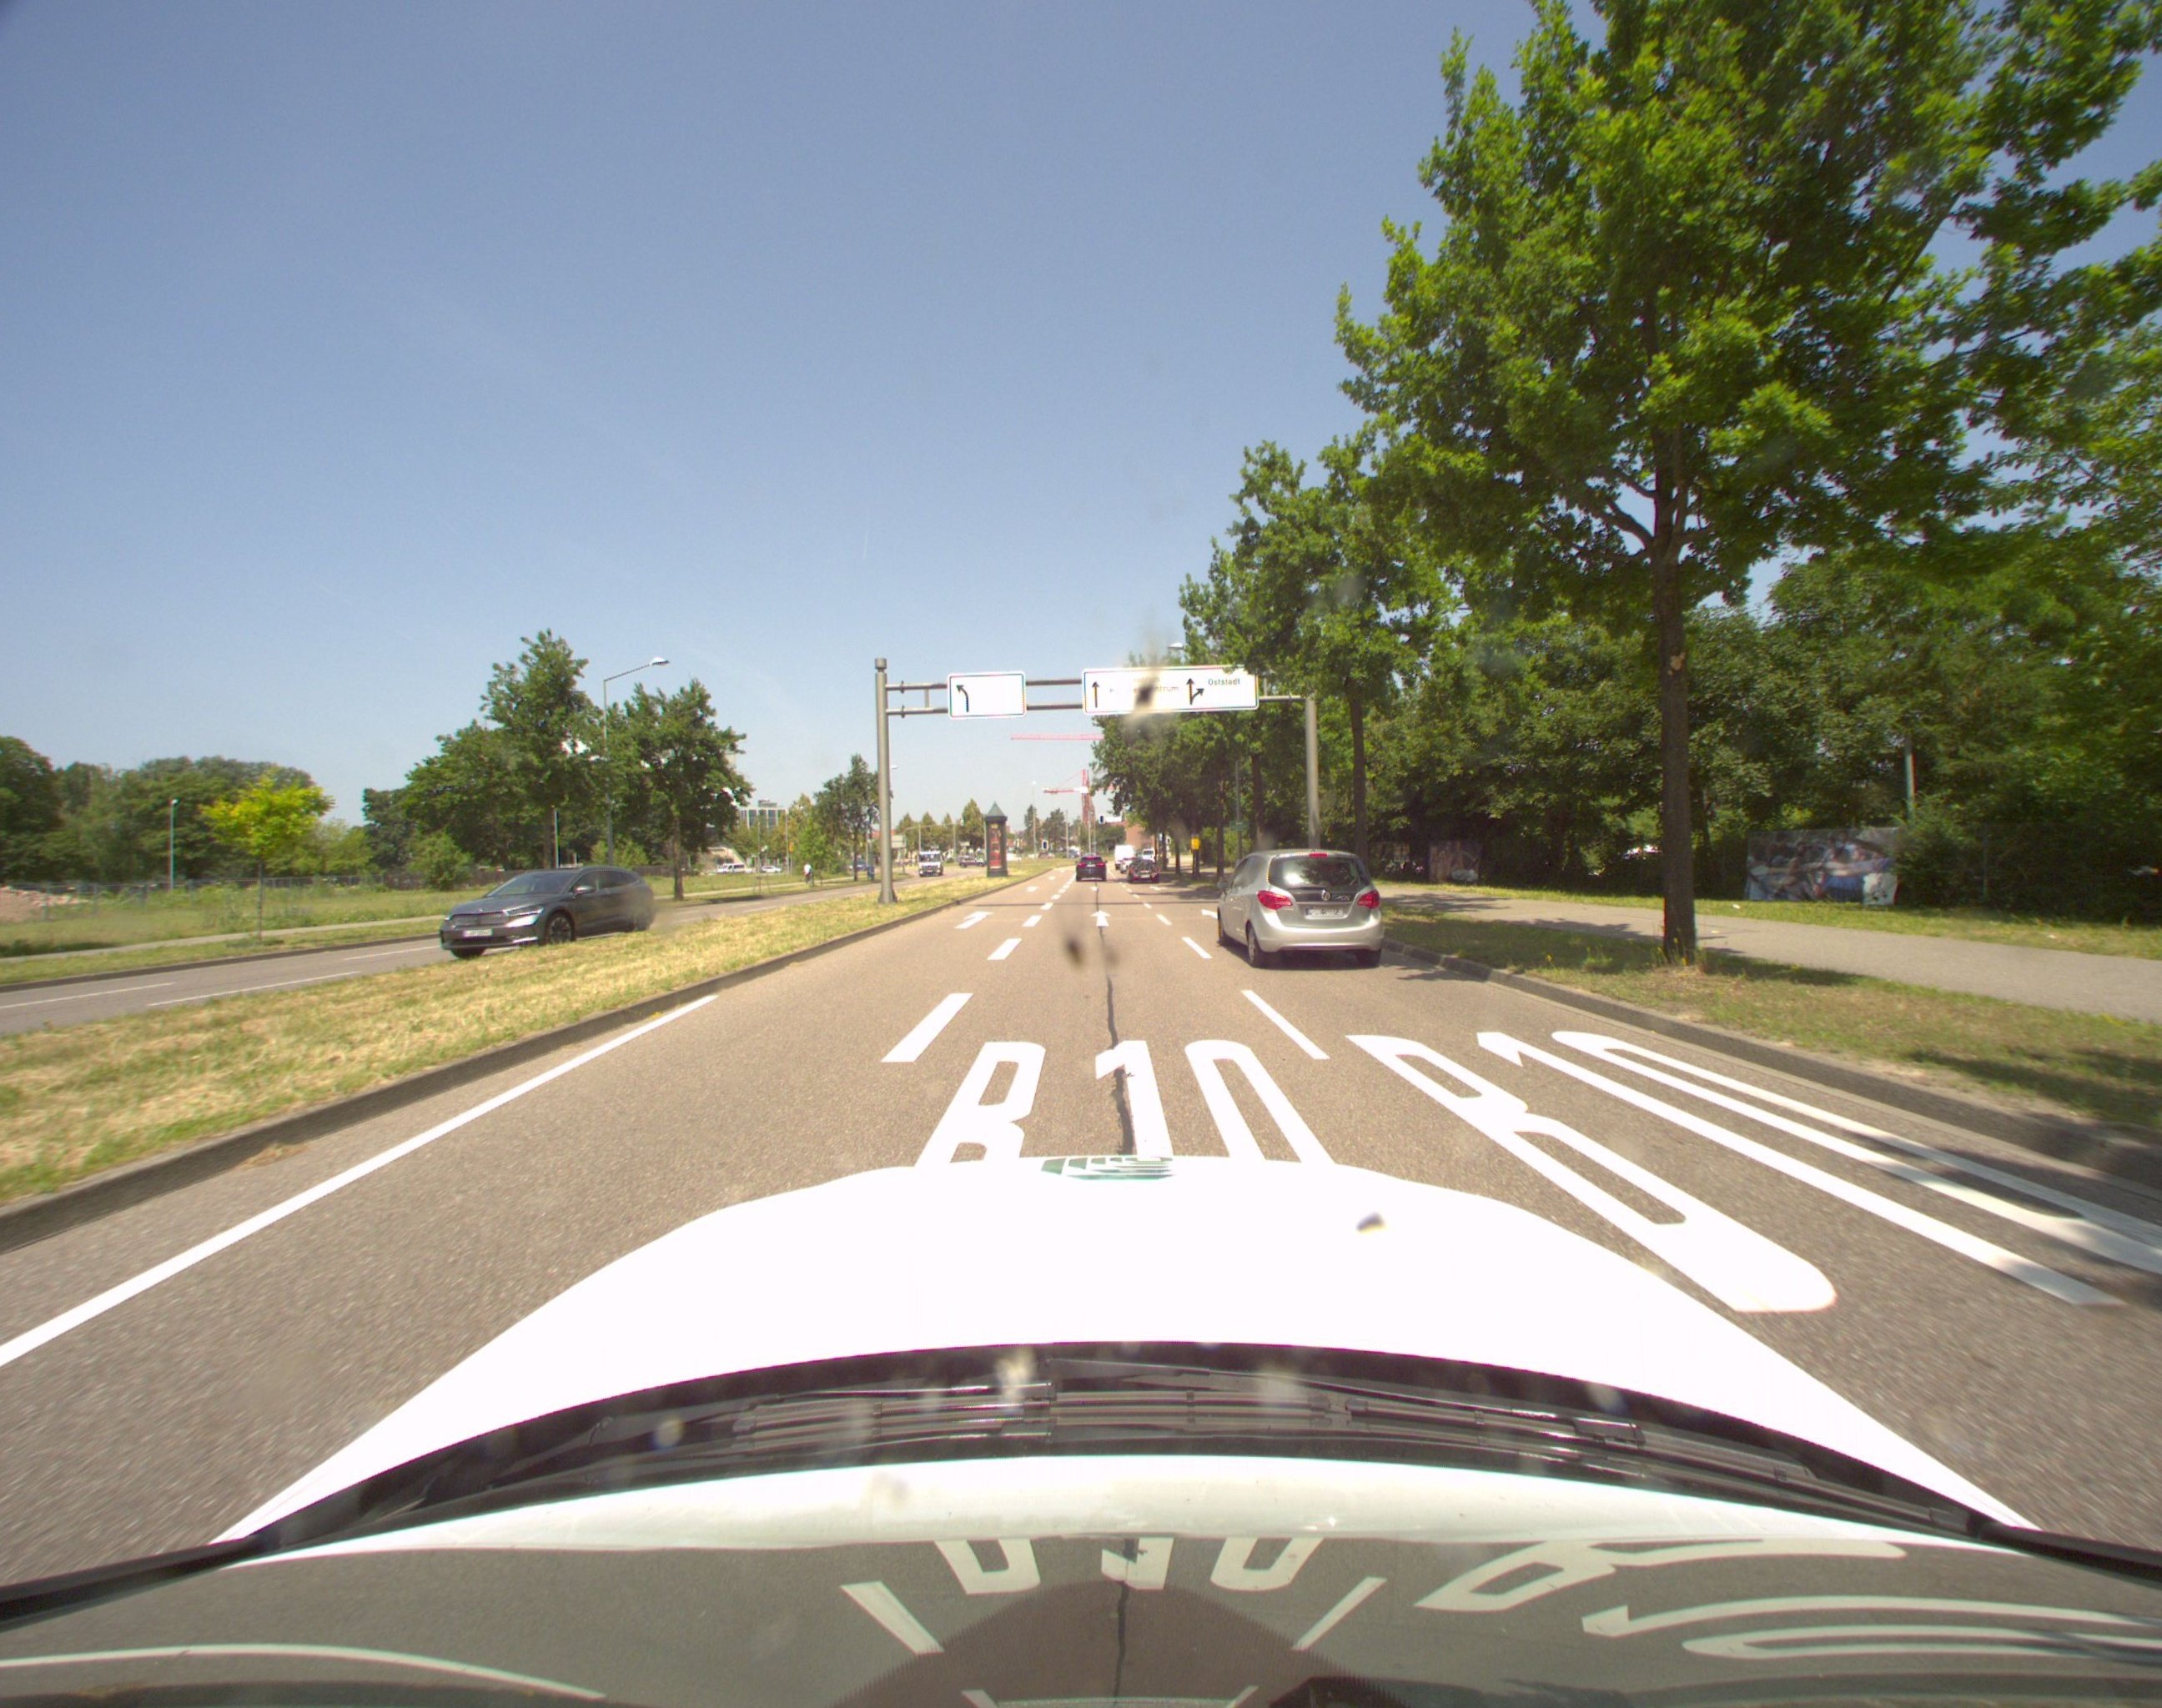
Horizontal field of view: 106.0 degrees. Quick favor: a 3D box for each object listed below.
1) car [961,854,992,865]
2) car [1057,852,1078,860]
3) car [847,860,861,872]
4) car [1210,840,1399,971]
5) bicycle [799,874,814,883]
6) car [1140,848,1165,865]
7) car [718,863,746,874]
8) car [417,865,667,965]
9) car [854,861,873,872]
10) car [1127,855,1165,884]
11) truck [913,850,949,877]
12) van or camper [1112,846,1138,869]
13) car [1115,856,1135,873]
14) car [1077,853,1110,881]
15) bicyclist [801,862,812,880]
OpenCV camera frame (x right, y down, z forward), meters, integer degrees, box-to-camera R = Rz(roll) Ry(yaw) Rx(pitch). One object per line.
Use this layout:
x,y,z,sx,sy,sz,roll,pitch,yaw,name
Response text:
-14.606,0.778,114.196,3.972,1.453,2.001,-2,0,1,car
-2.679,0.462,164.829,3.964,1.464,2.005,-2,0,8,car
-37.640,1.960,135.003,1.999,1.816,3.976,-2,0,-17,car
3.139,0.649,12.261,1.786,1.612,3.891,-2,0,1,car
-23.291,2.051,69.200,0.479,0.715,1.852,-2,0,4,bicycle
8.881,0.302,100.645,1.977,2.013,4.021,-2,0,20,car
-63.566,2.673,148.474,1.974,1.878,4.316,-2,0,30,car
-10.516,1.092,16.412,1.886,1.610,4.535,-2,0,1,car
-32.267,1.872,120.849,2.003,1.596,3.968,-2,0,-24,car
3.757,0.855,47.619,2.006,1.517,4.464,-2,0,3,car
-15.674,0.966,85.454,2.632,2.576,6.313,-2,0,-2,truck
4.605,0.351,85.836,2.484,2.291,4.922,-2,0,1,van or camper
3.882,0.918,71.649,1.647,1.356,4.465,-2,0,4,car
0.814,0.789,52.390,1.990,1.689,4.036,-1,0,2,car
-23.305,1.478,69.137,0.620,1.489,0.758,-2,0,4,bicyclist
